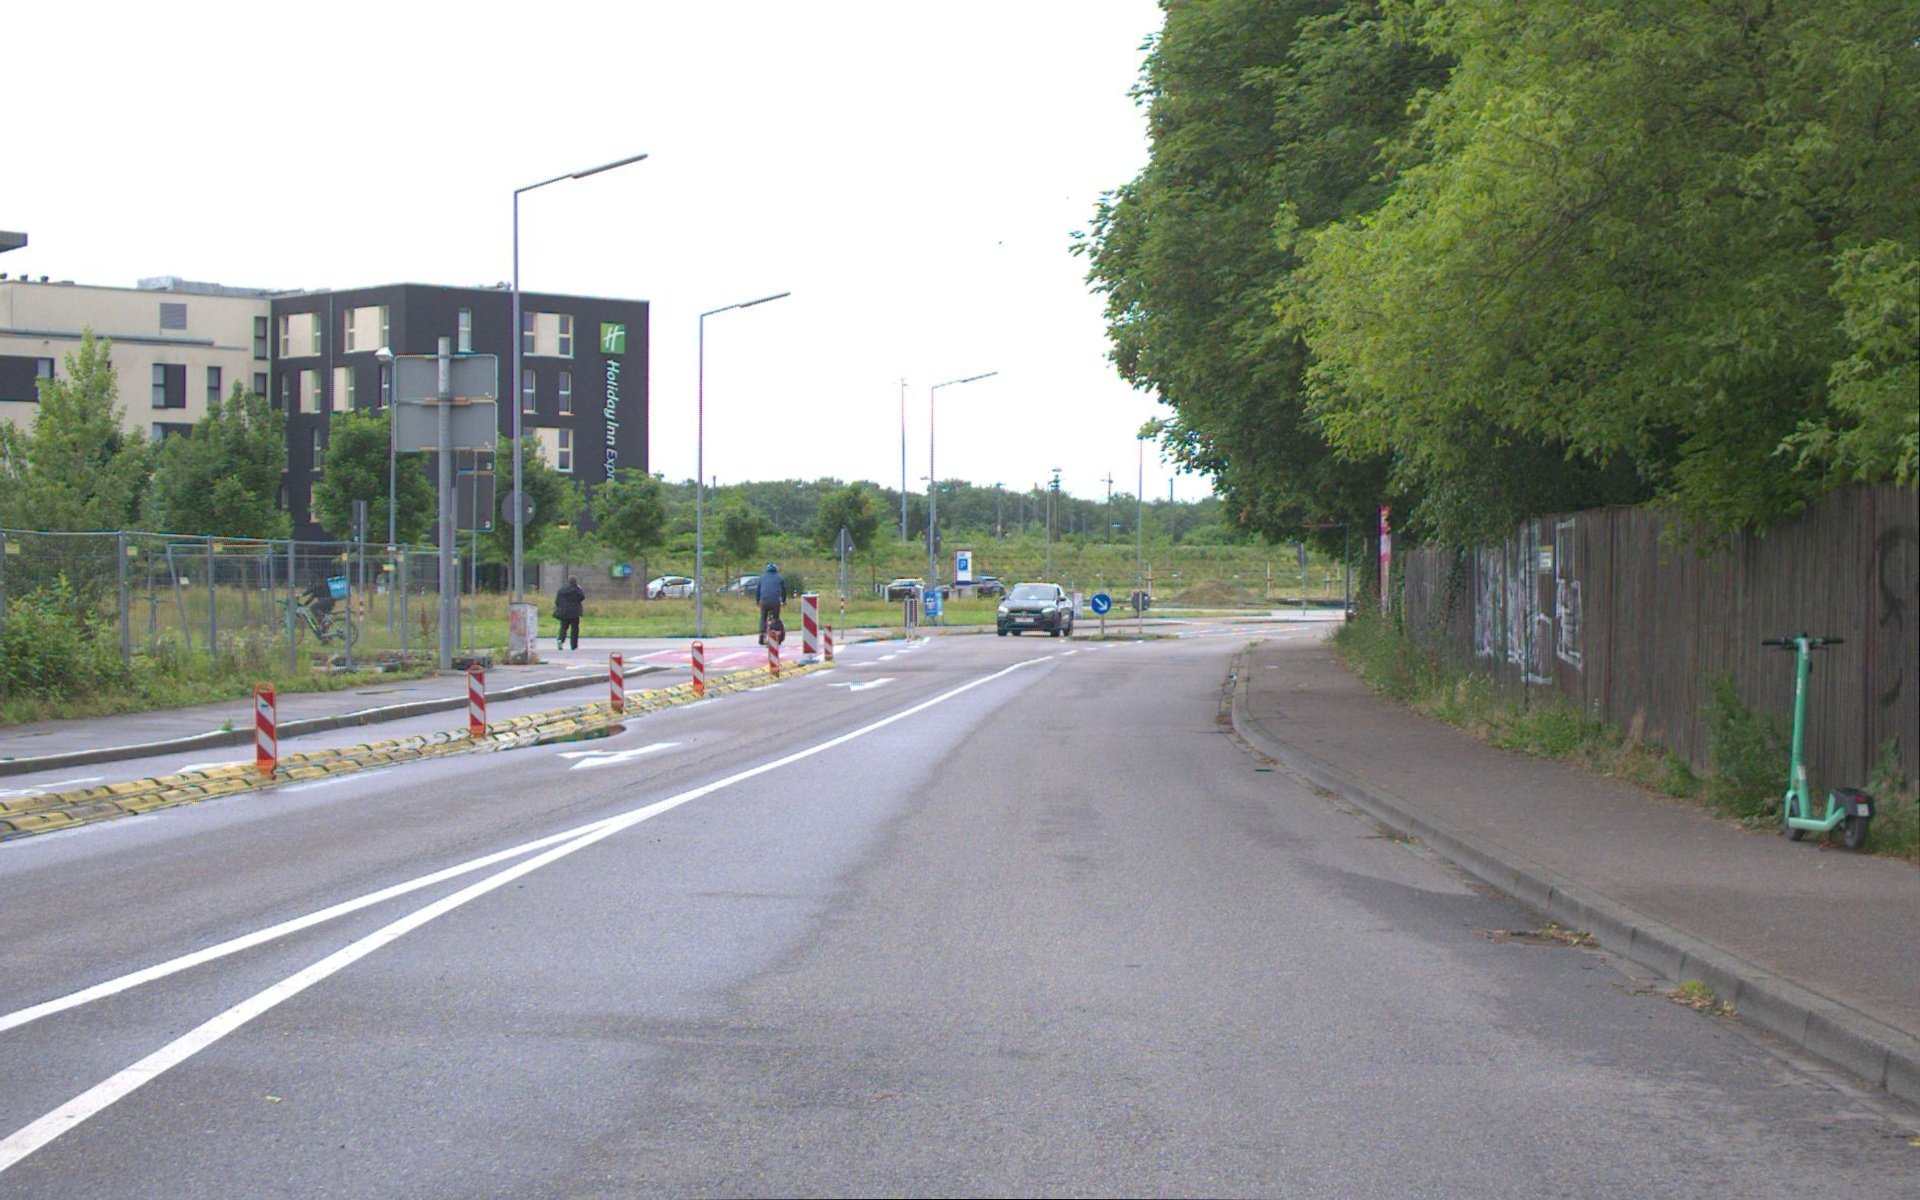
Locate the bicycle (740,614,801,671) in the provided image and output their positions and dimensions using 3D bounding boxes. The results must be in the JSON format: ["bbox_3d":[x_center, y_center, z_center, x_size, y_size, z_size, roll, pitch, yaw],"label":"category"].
[{"bbox_3d":[-3.767,0.842,68.641,0.884,1.049,2.469,0,1,5],"label":"bicycle"}]

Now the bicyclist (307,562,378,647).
[{"bbox_3d":[-14.028,0.098,78.042,1.397,1.893,1.077,0,1,-22],"label":"bicyclist"}]

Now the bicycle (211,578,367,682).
[{"bbox_3d":[-13.307,0.579,68.120,3.130,2.007,0.673,0,1,20],"label":"bicycle"}]

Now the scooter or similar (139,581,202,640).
[{"bbox_3d":[-15.894,0.211,69.205,1.336,1.138,0.411,1,-1,36],"label":"scooter or similar"}]

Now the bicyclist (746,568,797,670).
[{"bbox_3d":[-3.765,0.376,68.656,0.861,2.007,1.177,0,1,5],"label":"bicyclist"}]

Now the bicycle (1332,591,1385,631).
[{"bbox_3d":[11.197,0.309,96.635,0.797,1.107,1.949,0,0,29],"label":"bicycle"}]

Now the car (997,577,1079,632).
[{"bbox_3d":[2.365,0.107,103.015,1.881,1.561,4.356,0,1,9],"label":"car"}]

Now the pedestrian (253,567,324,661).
[{"bbox_3d":[-13.304,0.268,68.127,1.173,1.840,0.734,0,1,20],"label":"pedestrian"}]

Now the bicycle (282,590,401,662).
[{"bbox_3d":[-14.046,0.574,78.054,2.491,1.578,1.087,0,1,-23],"label":"bicycle"}]

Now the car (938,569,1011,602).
[{"bbox_3d":[0.803,-0.864,196.540,1.994,1.816,3.998,-1,1,-42],"label":"car"}]

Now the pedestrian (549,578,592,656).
[{"bbox_3d":[-8.995,0.384,79.470,0.844,1.776,1.077,0,1,1],"label":"pedestrian"}]

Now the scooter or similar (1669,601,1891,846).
[{"bbox_3d":[4.793,0.686,20.253,0.691,1.308,2.353,0,1,-1],"label":"scooter or similar"}]
